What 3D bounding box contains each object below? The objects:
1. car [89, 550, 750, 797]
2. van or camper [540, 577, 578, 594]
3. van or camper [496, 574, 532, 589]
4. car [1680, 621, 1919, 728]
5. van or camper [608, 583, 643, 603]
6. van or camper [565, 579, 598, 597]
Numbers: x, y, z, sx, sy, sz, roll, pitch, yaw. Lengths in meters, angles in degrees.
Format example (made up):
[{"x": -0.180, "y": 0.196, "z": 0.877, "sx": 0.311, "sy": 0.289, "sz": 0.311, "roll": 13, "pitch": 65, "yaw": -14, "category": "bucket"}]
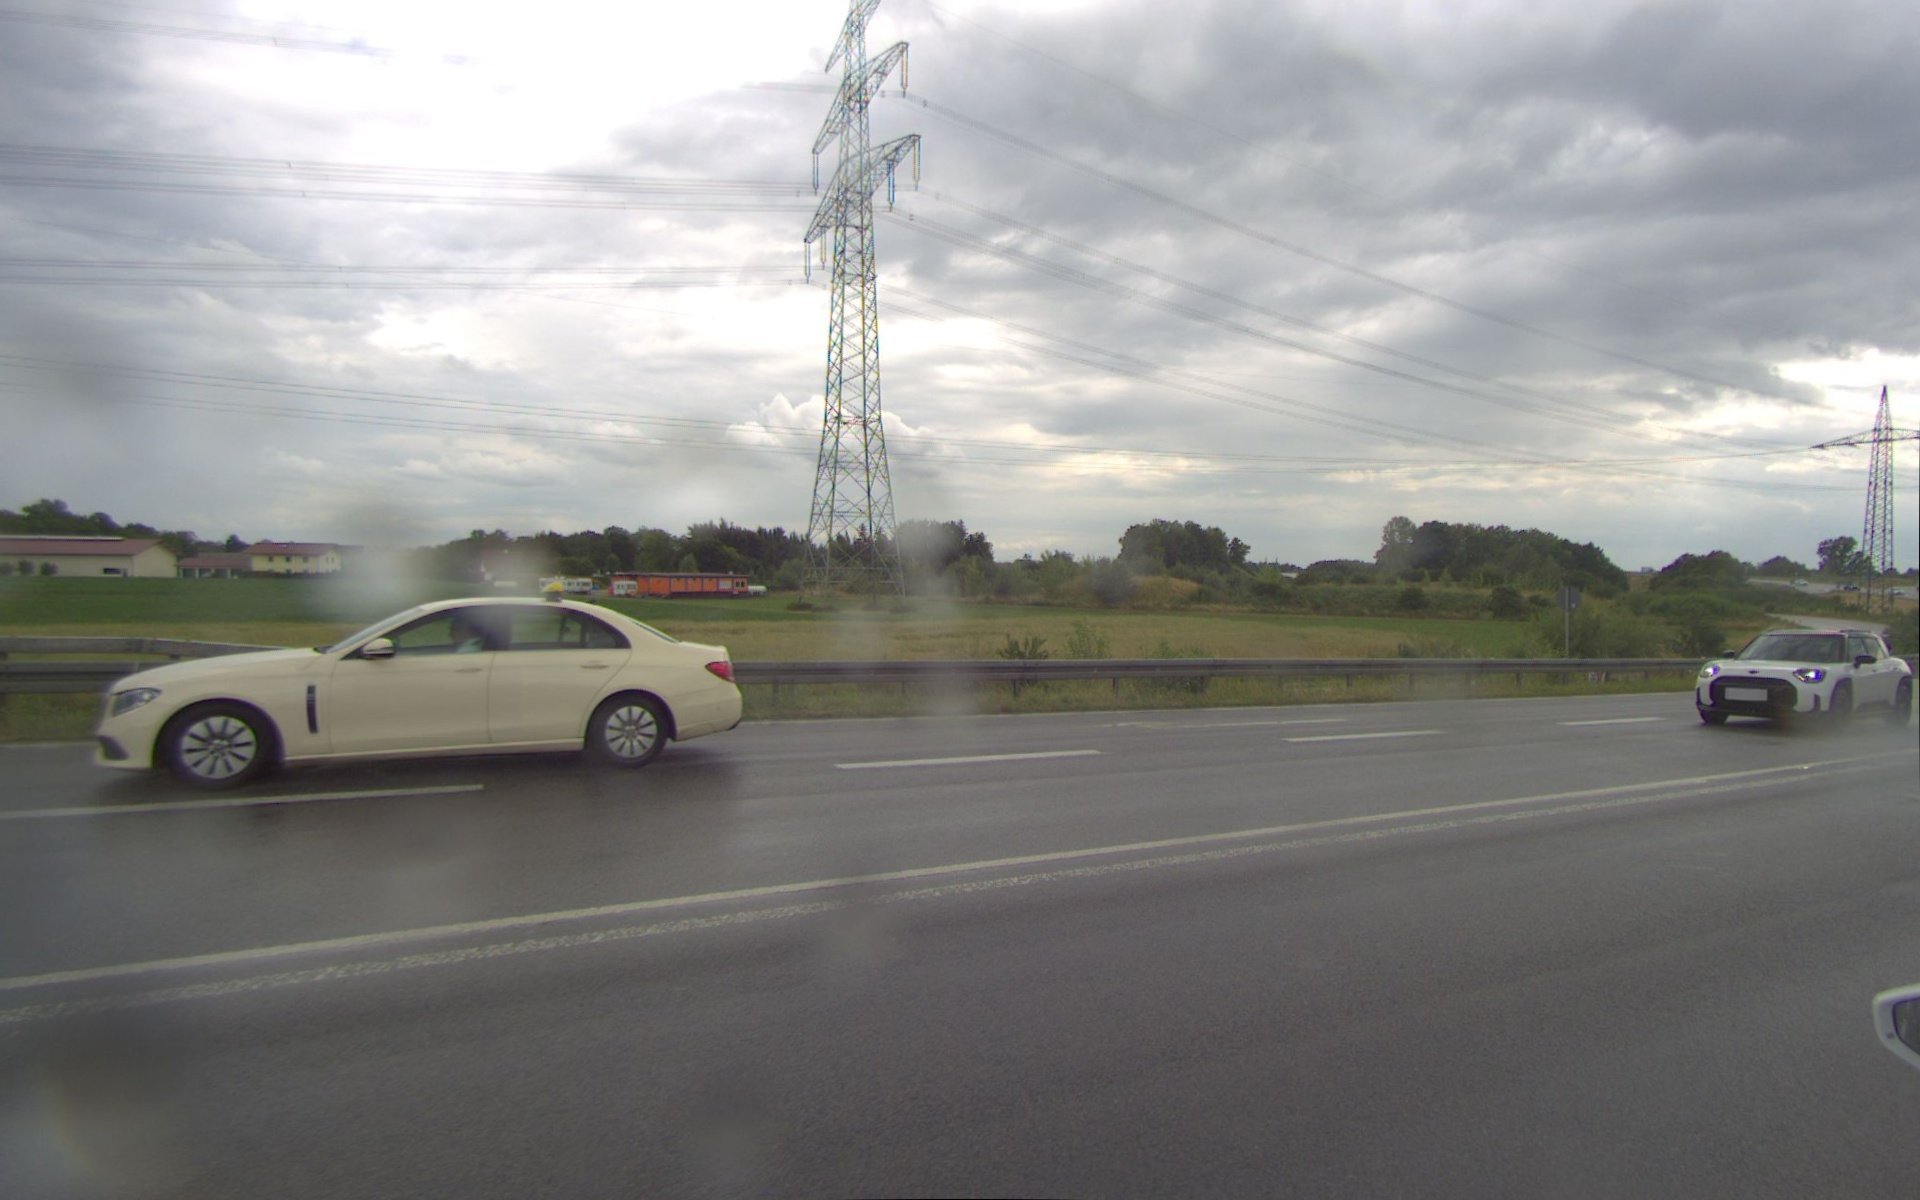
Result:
[{"x": -4.384, "y": 0.572, "z": 8.841, "sx": 4.590, "sy": 1.682, "sz": 1.934, "roll": 2, "pitch": -1, "yaw": -30, "category": "car"}, {"x": -69.661, "y": -2.474, "z": 174.388, "sx": 2.297, "sy": 2.667, "sz": 5.681, "roll": 5, "pitch": 3, "yaw": 44, "category": "van or camper"}, {"x": -83.170, "y": -3.418, "z": 187.306, "sx": 2.297, "sy": 2.667, "sz": 5.681, "roll": 5, "pitch": 3, "yaw": 44, "category": "van or camper"}, {"x": 13.587, "y": 1.132, "z": 16.106, "sx": 4.159, "sy": 1.519, "sz": 1.759, "roll": 2, "pitch": -2, "yaw": -30, "category": "car"}, {"x": -51.175, "y": -1.086, "z": 153.572, "sx": 5.626, "sy": 2.667, "sz": 2.319, "roll": 4, "pitch": 3, "yaw": 37, "category": "van or camper"}, {"x": -61.725, "y": -1.923, "z": 163.786, "sx": 5.626, "sy": 2.667, "sz": 2.319, "roll": 4, "pitch": 3, "yaw": 37, "category": "van or camper"}]
